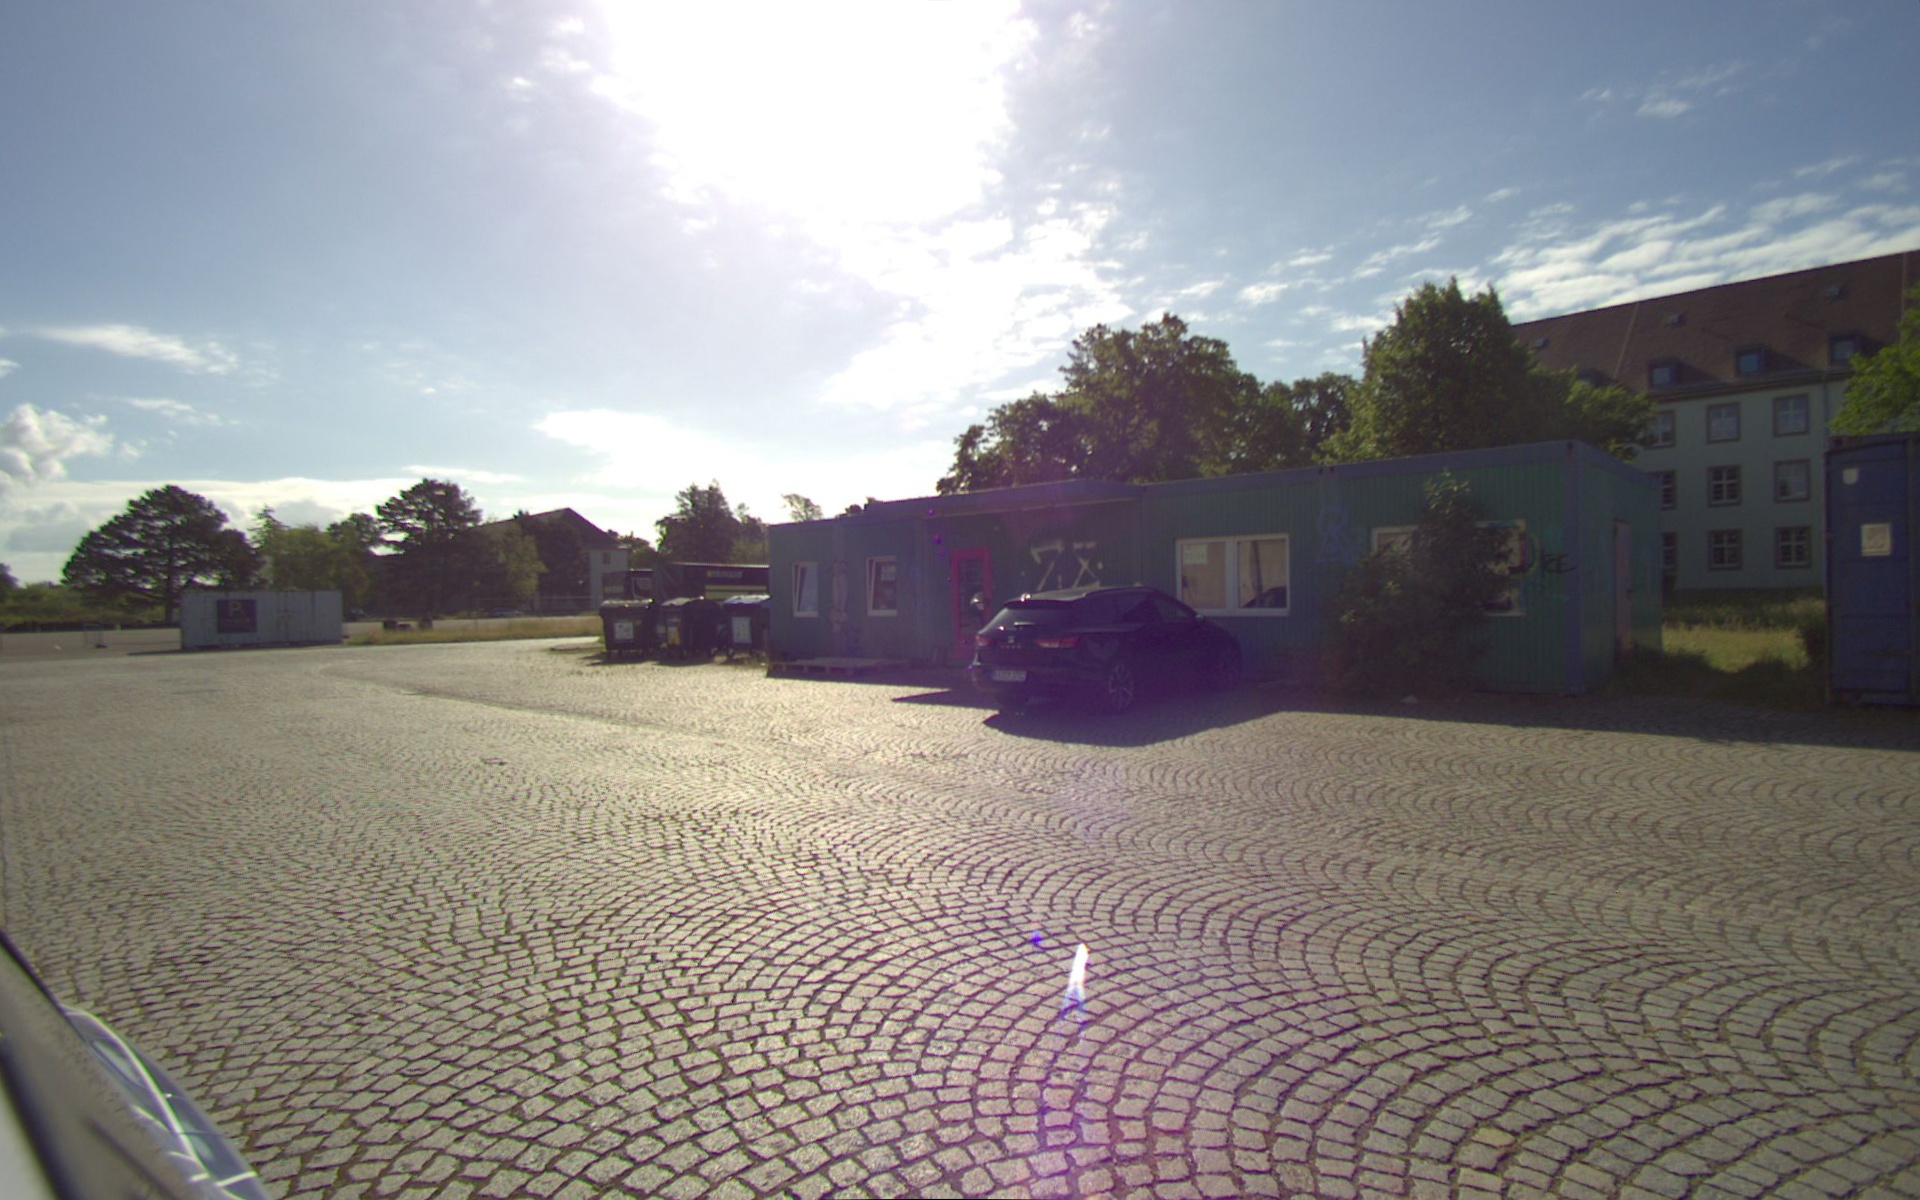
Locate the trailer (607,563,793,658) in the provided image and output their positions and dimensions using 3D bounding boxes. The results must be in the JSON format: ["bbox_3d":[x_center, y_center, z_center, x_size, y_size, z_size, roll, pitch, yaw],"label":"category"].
[{"bbox_3d":[-7.178,0.207,28.381,1.941,2.409,4.791,-1,1,40],"label":"trailer"}]

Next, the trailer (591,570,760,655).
[{"bbox_3d":[-8.482,0.310,30.435,4.403,2.290,2.015,-3,1,-45],"label":"trailer"}]

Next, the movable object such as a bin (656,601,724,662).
[{"bbox_3d":[-6.505,0.733,24.345,1.067,1.396,1.371,-2,0,-41],"label":"movable object such as a bin"}]

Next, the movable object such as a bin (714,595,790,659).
[{"bbox_3d":[-4.898,0.623,23.862,1.405,1.447,1.076,-1,0,34],"label":"movable object such as a bin"}]

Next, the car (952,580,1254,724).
[{"bbox_3d":[1.914,0.526,12.628,1.732,1.423,4.005,-1,1,43],"label":"car"}]

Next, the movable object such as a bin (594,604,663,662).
[{"bbox_3d":[-8.338,0.810,25.515,1.346,1.396,1.047,-1,0,3],"label":"movable object such as a bin"}]
